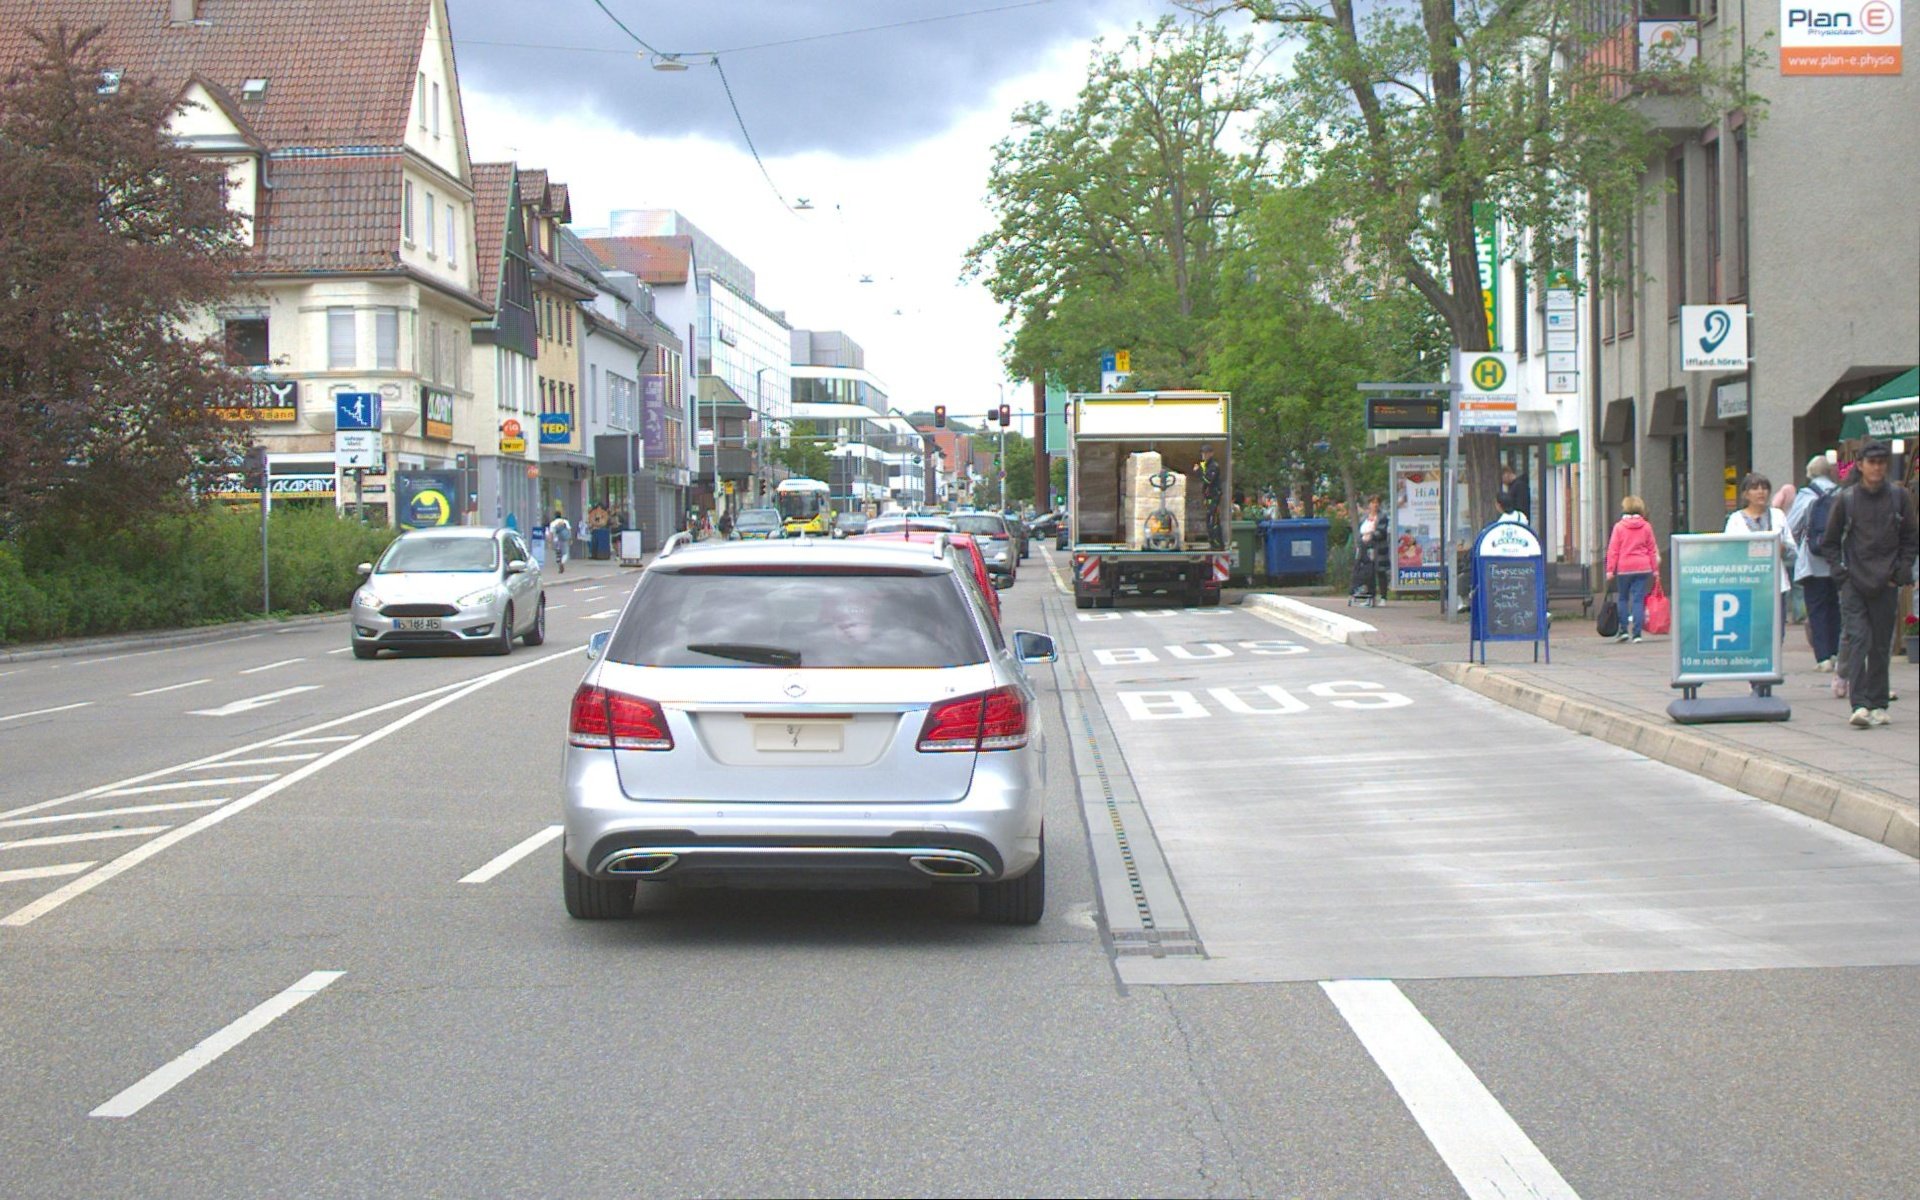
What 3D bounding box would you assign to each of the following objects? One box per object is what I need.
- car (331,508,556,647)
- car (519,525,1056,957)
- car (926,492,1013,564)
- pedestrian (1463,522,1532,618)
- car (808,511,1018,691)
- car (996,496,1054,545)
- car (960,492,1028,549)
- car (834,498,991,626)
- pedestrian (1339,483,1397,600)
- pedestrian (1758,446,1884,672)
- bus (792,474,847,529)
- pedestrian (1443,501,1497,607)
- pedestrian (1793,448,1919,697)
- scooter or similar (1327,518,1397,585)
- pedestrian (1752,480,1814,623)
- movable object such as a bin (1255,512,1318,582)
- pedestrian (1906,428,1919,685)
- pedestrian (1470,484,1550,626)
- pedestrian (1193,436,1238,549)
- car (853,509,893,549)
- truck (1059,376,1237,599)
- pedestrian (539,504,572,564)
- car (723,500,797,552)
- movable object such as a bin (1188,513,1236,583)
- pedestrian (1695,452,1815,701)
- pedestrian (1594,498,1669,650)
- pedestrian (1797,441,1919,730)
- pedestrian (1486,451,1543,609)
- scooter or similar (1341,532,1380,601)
[{"bbox_3d":[-6.049,-0.292,40.764,1.874,1.501,4.344,-2,1,1],"label":"car"},{"bbox_3d":[-0.630,0.449,14.020,1.874,1.501,4.000,0,1,-1],"label":"car"},{"bbox_3d":[0.257,-1.759,83.335,1.993,1.678,4.000,0,2,1],"label":"car"},{"bbox_3d":[6.675,-0.375,42.685,0.711,1.162,0.588,0,2,-5],"label":"pedestrian"},{"bbox_3d":[-0.369,-0.031,31.412,1.754,1.515,4.000,-1,1,1],"label":"car"},{"bbox_3d":[2.305,-2.785,120.579,1.993,1.678,4.000,0,2,1],"label":"car"},{"bbox_3d":[1.061,-2.413,104.280,1.993,1.678,4.000,0,2,1],"label":"car"},{"bbox_3d":[-0.611,-0.560,47.368,1.993,1.678,4.000,0,2,1],"label":"car"},{"bbox_3d":[5.795,-0.831,48.851,0.534,1.629,0.588,2,2,-23],"label":"pedestrian"},{"bbox_3d":[6.813,-0.323,27.220,0.682,1.736,0.782,-3,0,-4],"label":"pedestrian"},{"bbox_3d":[-8.200,-5.763,201.391,2.775,3.154,5.933,0,2,2],"label":"bus"},{"bbox_3d":[6.862,-0.616,46.233,0.613,1.396,0.587,-2,1,14],"label":"pedestrian"},{"bbox_3d":[6.029,-0.187,23.000,0.718,1.629,0.615,-1,1,-2],"label":"pedestrian"},{"bbox_3d":[7.387,-0.896,63.185,1.175,1.192,0.460,-1,1,-8],"label":"scooter or similar"},{"bbox_3d":[9.484,-0.561,39.626,0.586,1.629,0.615,0,2,2],"label":"pedestrian"},{"bbox_3d":[6.301,-1.030,66.395,1.143,1.335,1.376,-1,1,3],"label":"movable object such as a bin"},{"bbox_3d":[6.905,-0.307,23.057,0.795,1.736,0.782,-3,0,-4],"label":"pedestrian"},{"bbox_3d":[6.444,-0.535,40.306,0.613,1.629,0.794,-1,2,-20],"label":"pedestrian"},{"bbox_3d":[4.045,-1.698,54.488,0.613,1.774,0.588,-1,0,-2],"label":"pedestrian"},{"bbox_3d":[-3.508,-2.872,138.547,1.570,1.535,2.961,1,1,-1],"label":"car"},{"bbox_3d":[3.164,-1.955,60.164,2.688,3.549,9.767,0,2,1],"label":"truck"},{"bbox_3d":[-11.214,-1.842,95.346,0.816,1.629,0.980,1,2,-4],"label":"pedestrian"},{"bbox_3d":[-7.067,-2.639,122.051,2.069,1.732,4.693,-2,2,3],"label":"car"},{"bbox_3d":[4.884,-1.007,66.642,0.881,1.335,1.085,-1,1,3],"label":"movable object such as a bin"},{"bbox_3d":[5.305,-0.161,22.959,0.612,1.629,0.615,-1,1,-2],"label":"pedestrian"},{"bbox_3d":[7.084,-0.283,36.260,0.673,1.562,0.491,2,3,21],"label":"pedestrian"},{"bbox_3d":[5.398,-0.094,20.508,0.612,1.672,0.615,2,2,3],"label":"pedestrian"},{"bbox_3d":[7.301,-0.917,45.250,0.613,2.040,0.587,-2,1,14],"label":"pedestrian"},{"bbox_3d":[5.649,-0.471,48.486,0.384,0.955,0.355,-2,2,-40],"label":"scooter or similar"}]
